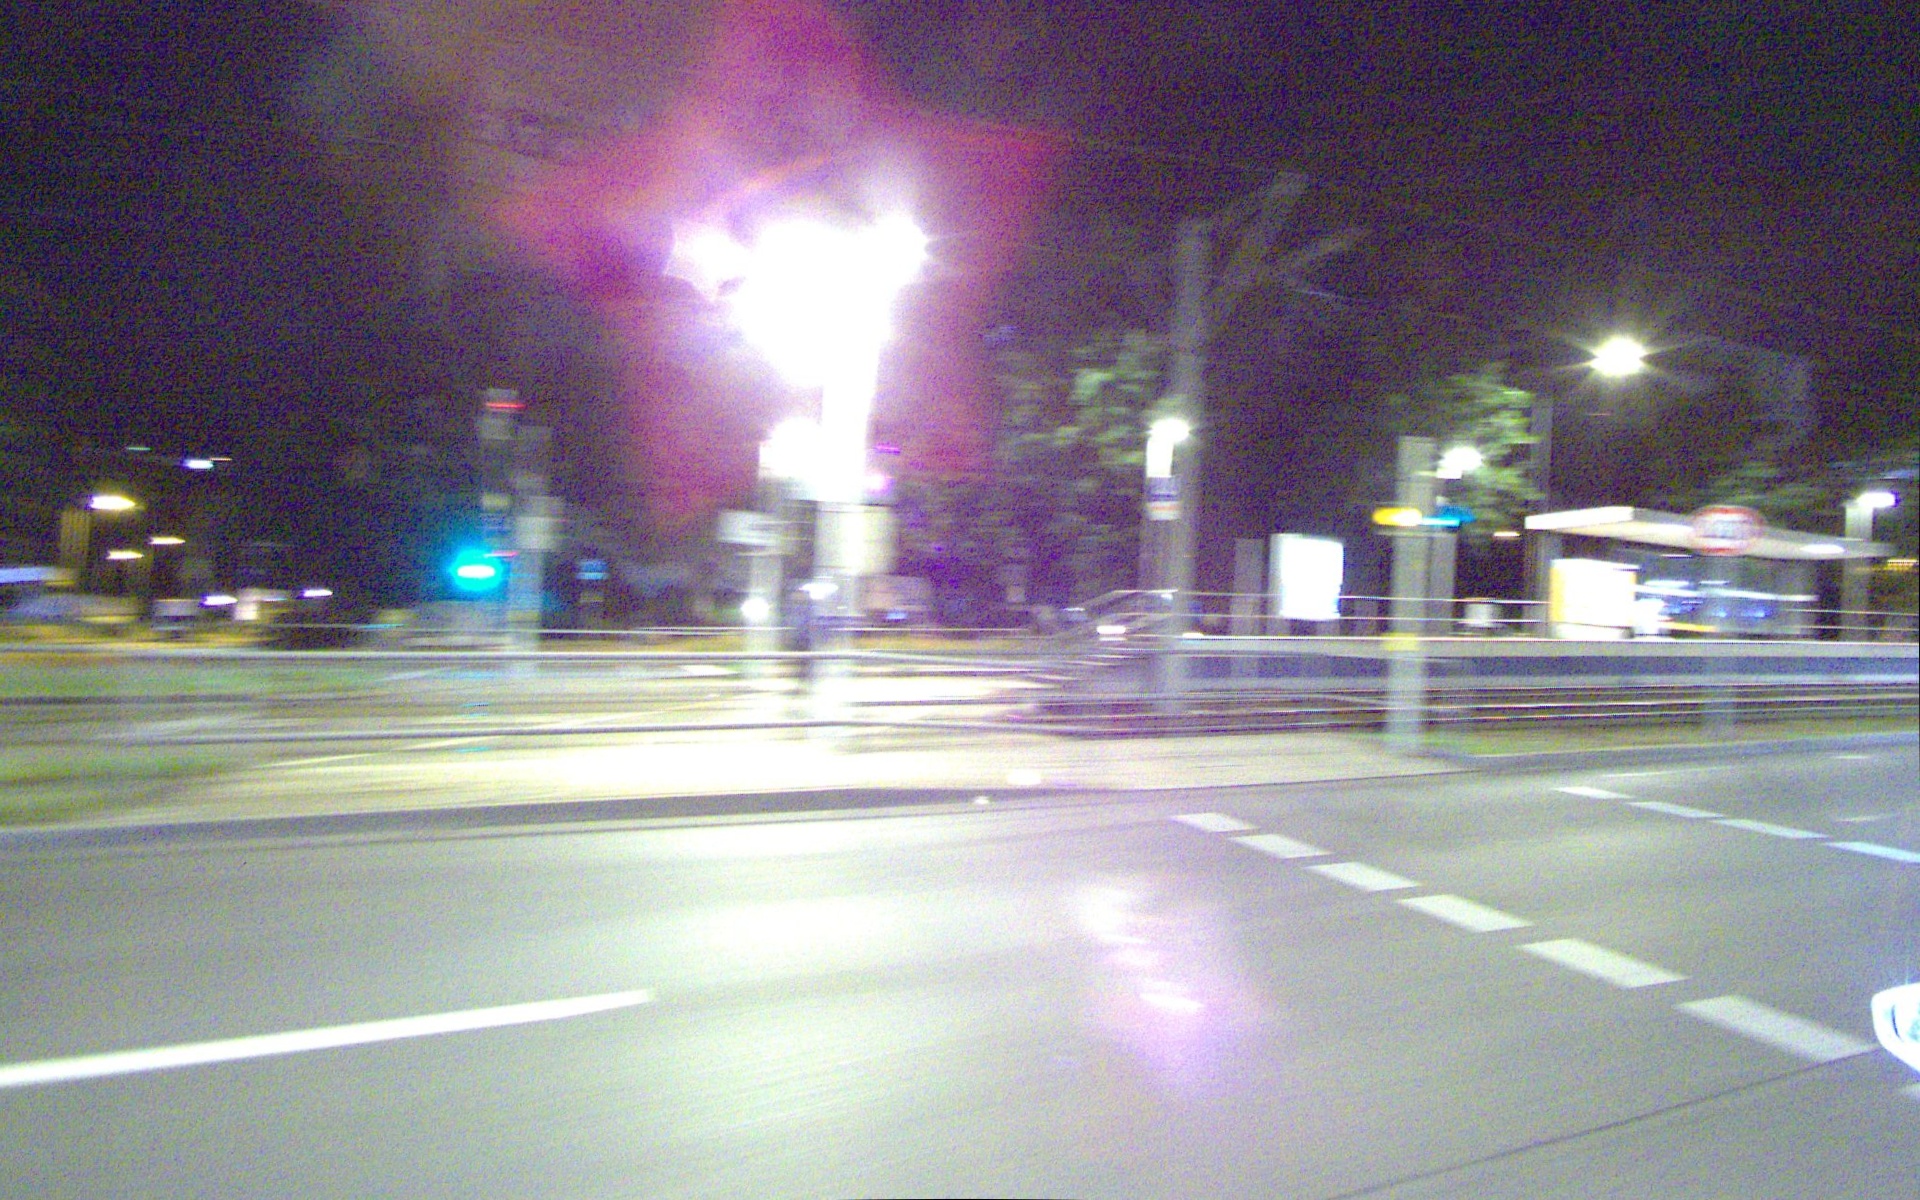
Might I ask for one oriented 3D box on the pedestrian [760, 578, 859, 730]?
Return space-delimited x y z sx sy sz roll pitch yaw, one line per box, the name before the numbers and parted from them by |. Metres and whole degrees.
pedestrian | -1.761 0.624 11.882 0.804 1.710 1.057 0 -2 13
